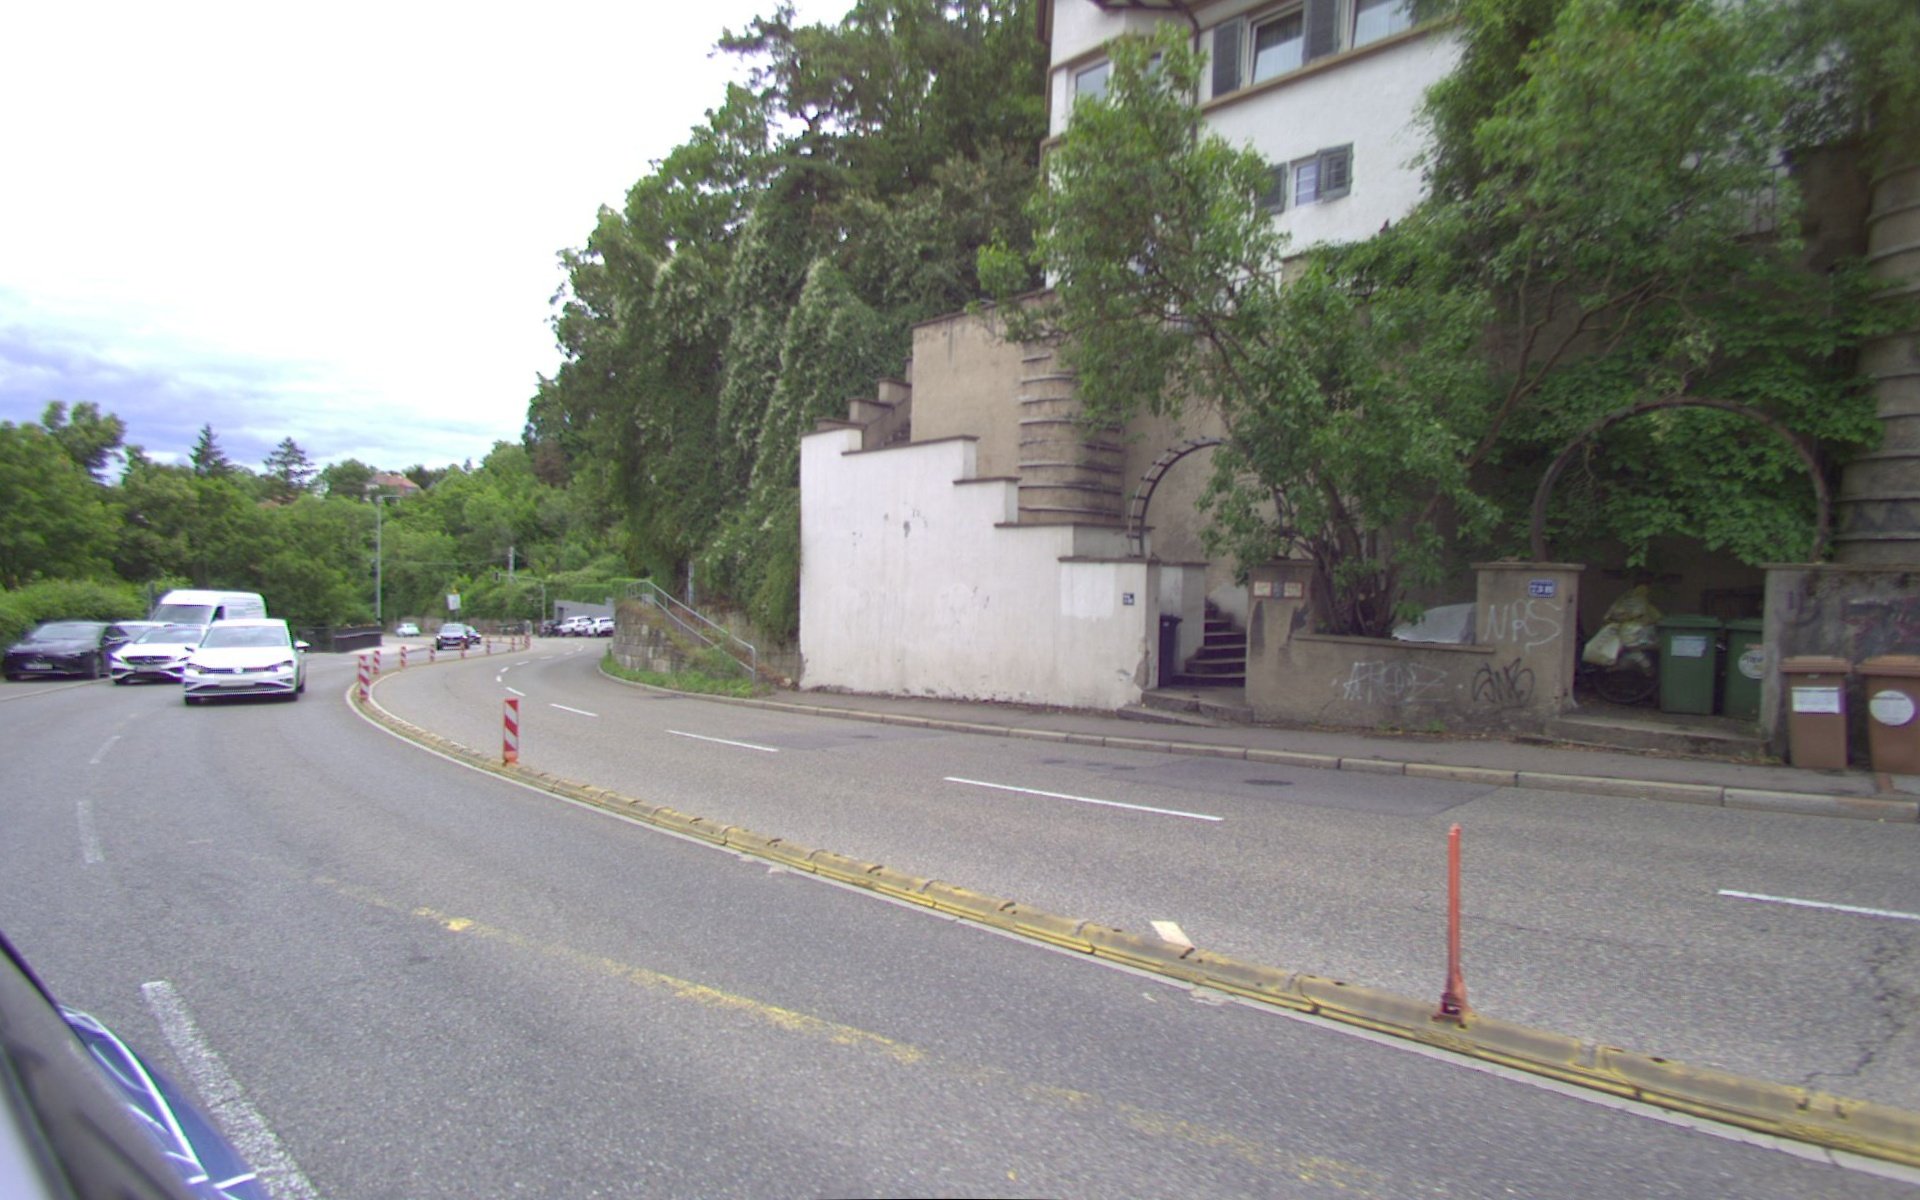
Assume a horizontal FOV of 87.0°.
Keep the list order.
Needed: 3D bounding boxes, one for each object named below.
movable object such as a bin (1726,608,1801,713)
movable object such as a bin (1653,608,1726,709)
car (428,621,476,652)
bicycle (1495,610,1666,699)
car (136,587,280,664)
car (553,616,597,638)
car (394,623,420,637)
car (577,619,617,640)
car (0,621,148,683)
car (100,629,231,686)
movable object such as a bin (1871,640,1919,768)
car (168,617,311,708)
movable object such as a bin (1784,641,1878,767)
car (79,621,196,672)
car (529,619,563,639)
[{"bbox_3d":[8.428,0.616,10.617,0.580,1.029,0.601,-2,1,40],"label":"movable object such as a bin"},{"bbox_3d":[7.938,0.617,11.004,0.580,1.032,0.601,-2,1,40],"label":"movable object such as a bin"},{"bbox_3d":[-32.273,2.288,64.388,1.966,1.718,4.012,-2,1,-16],"label":"car"},{"bbox_3d":[7.279,0.607,11.914,1.617,0.851,0.628,3,7,42],"label":"bicycle"},{"bbox_3d":[-27.520,0.942,37.332,2.056,2.542,5.860,2,-2,-14],"label":"car"},{"bbox_3d":[-33.438,2.355,87.915,1.837,1.744,4.766,-4,1,-43],"label":"car"},{"bbox_3d":[-62.380,3.405,114.152,1.690,1.477,3.665,-2,0,-42],"label":"car"},{"bbox_3d":[-29.912,2.394,83.320,1.809,1.584,4.485,-3,1,-36],"label":"car"},{"bbox_3d":[-23.062,1.300,26.484,1.676,1.475,4.679,1,-2,-24],"label":"car"},{"bbox_3d":[-20.289,1.410,26.031,1.768,1.316,4.114,0,-2,-25],"label":"car"},{"bbox_3d":[7.641,0.813,8.021,0.580,0.956,0.601,-2,1,40],"label":"movable object such as a bin"},{"bbox_3d":[-14.045,1.159,19.947,1.855,1.590,4.012,1,-2,-30],"label":"car"},{"bbox_3d":[7.207,0.836,8.389,0.556,0.956,0.601,-2,1,40],"label":"movable object such as a bin"},{"bbox_3d":[-25.464,1.411,31.484,1.676,1.475,3.847,1,-2,-21],"label":"car"},{"bbox_3d":[-37.338,2.656,91.285,1.692,1.584,2.959,-5,1,-45],"label":"car"}]
